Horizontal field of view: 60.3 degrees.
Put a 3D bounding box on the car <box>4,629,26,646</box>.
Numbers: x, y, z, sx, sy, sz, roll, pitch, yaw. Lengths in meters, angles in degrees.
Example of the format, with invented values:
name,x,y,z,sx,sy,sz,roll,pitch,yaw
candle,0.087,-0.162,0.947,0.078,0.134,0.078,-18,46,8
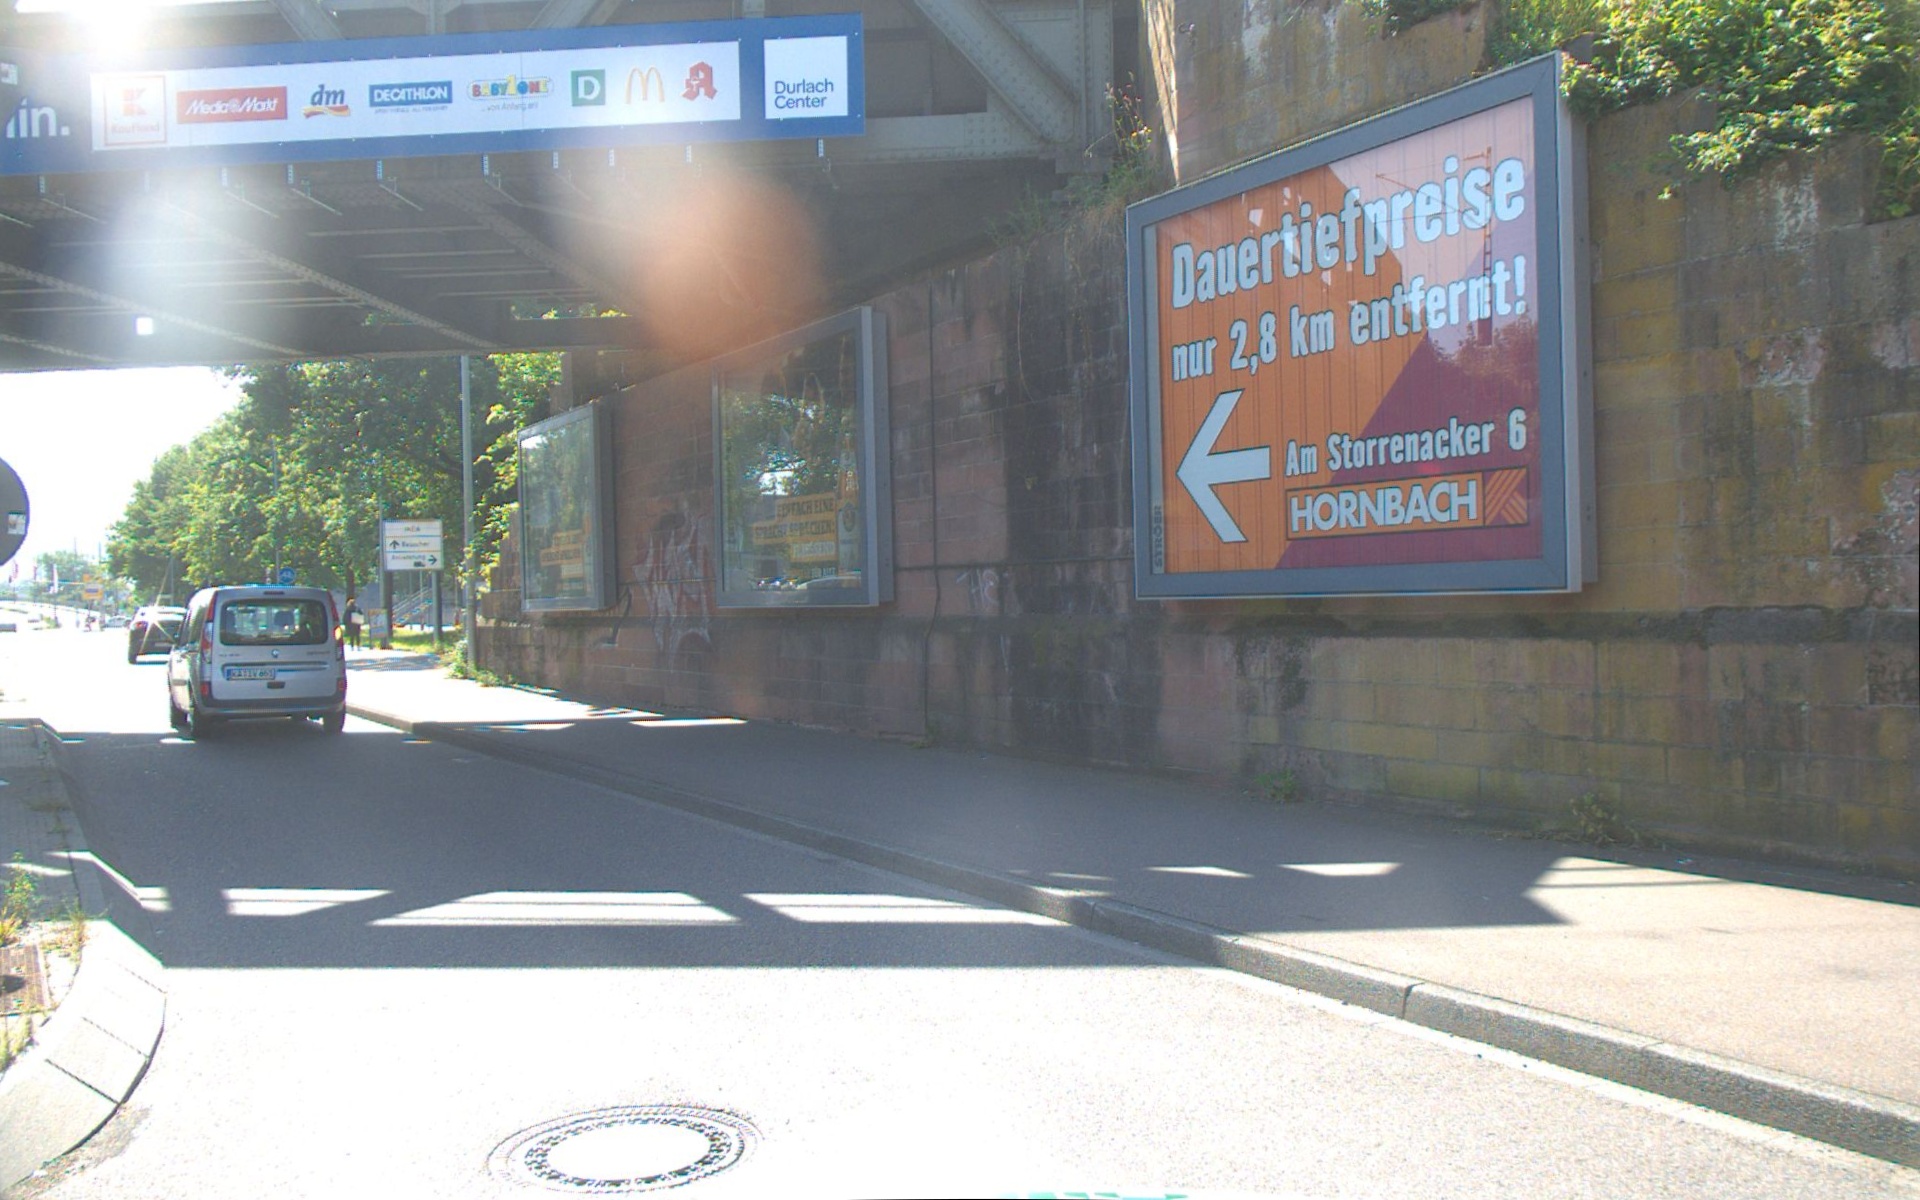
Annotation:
name,x,y,z,sx,sy,sz,roll,pitch,yaw
car,-101.900,4.003,178.412,1.972,1.713,3.960,-2,0,-29

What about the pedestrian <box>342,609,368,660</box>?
name,x,y,z,sx,sy,sz,roll,pitch,yaw
pedestrian,-19.714,1.118,53.924,0.640,1.631,0.838,-1,0,-29

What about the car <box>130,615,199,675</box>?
name,x,y,z,sx,sy,sz,roll,pitch,yaw
car,-24.067,1.339,49.979,1.786,1.668,4.419,-2,0,-27

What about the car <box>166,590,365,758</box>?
name,x,y,z,sx,sy,sz,roll,pitch,yaw
car,-8.919,0.872,21.061,1.885,1.861,4.139,-1,0,-29
